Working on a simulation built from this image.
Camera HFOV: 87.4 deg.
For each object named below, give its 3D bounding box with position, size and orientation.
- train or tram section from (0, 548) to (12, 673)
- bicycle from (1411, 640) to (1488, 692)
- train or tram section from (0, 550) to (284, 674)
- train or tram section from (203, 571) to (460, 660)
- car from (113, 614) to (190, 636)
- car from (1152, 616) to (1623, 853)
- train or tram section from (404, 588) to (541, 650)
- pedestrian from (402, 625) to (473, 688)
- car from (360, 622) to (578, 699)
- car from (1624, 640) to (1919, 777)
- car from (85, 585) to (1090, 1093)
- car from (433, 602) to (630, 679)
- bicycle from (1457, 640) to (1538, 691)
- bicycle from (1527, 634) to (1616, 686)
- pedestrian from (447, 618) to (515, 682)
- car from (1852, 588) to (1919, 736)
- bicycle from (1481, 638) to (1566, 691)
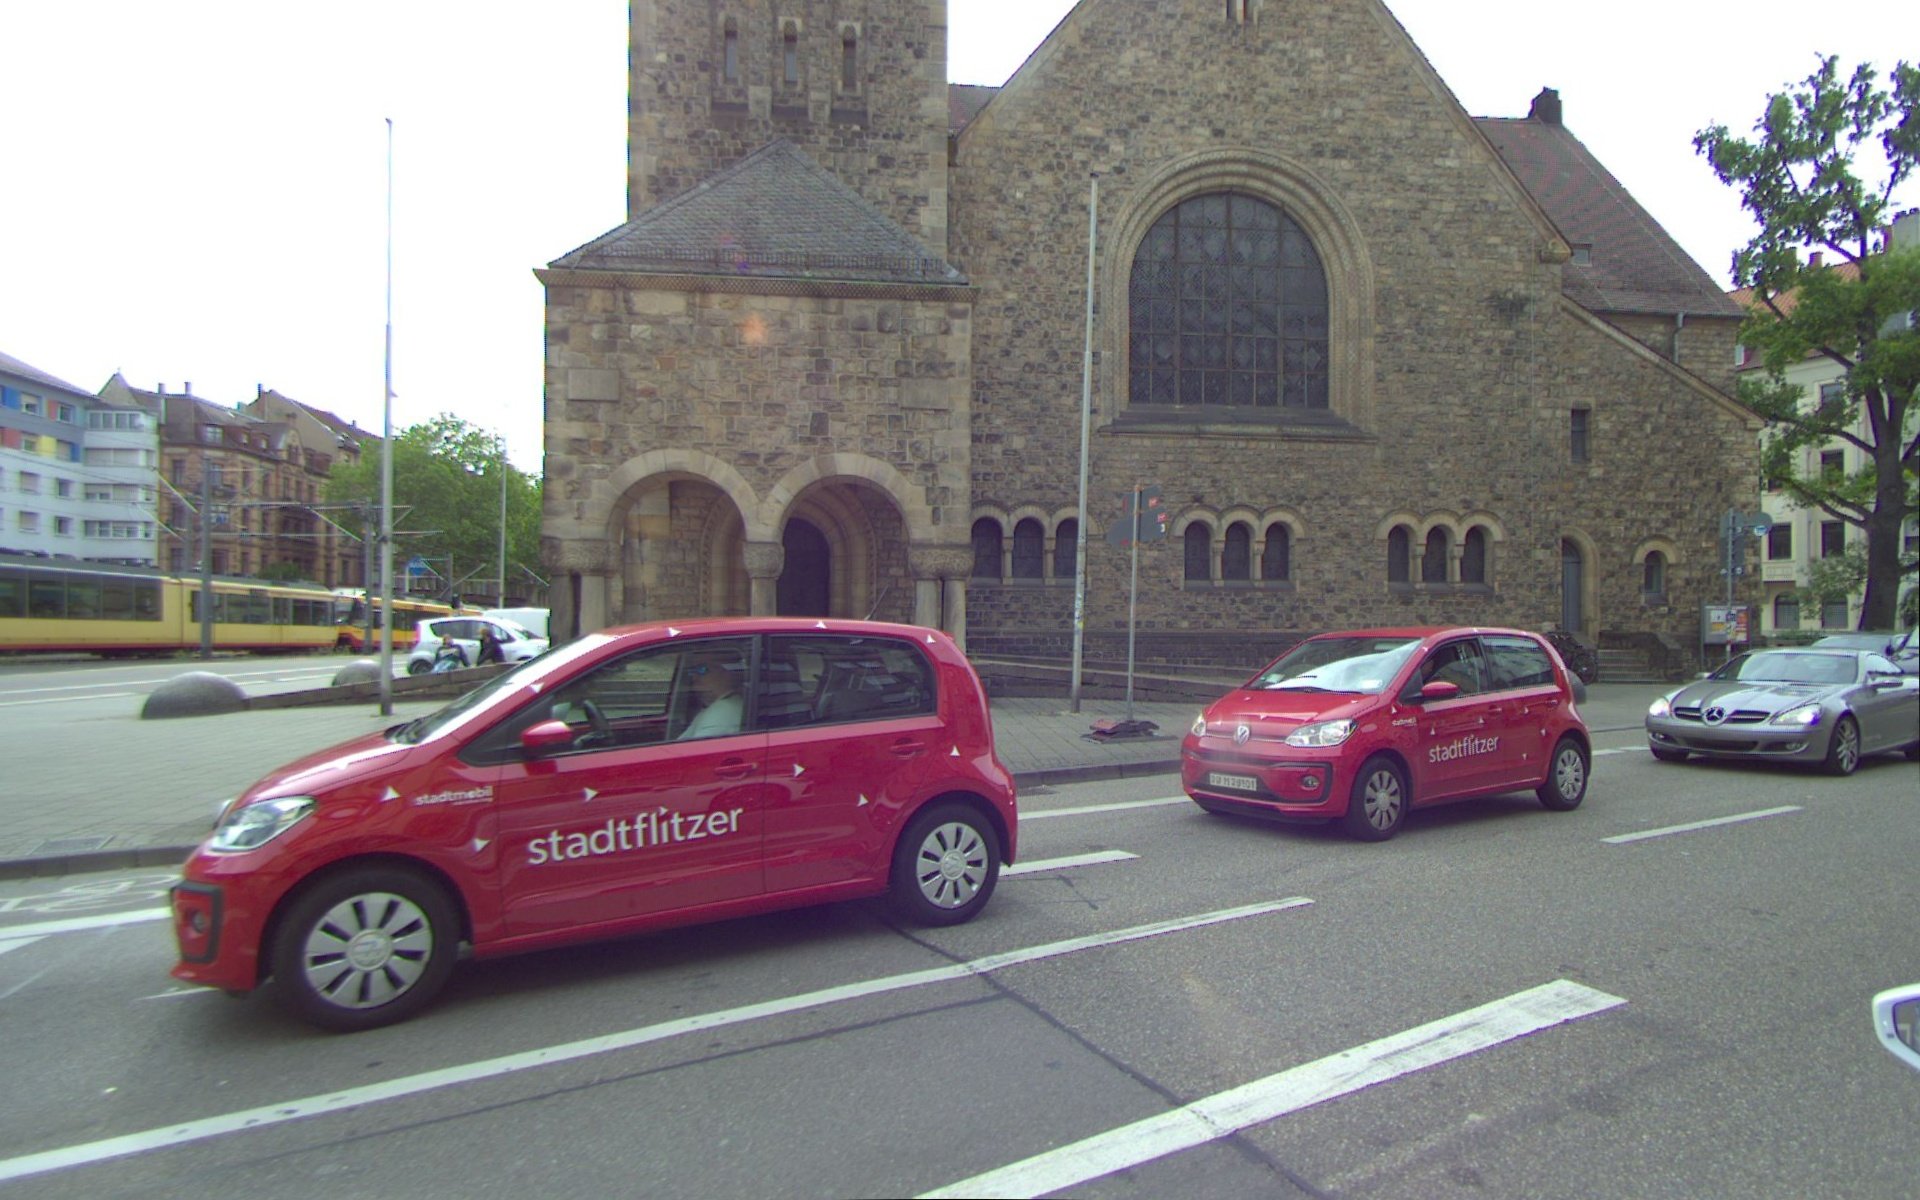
[{"bbox_3d":[-32.920,0.093,25.786,3.585,4.146,15.032,2,-2,-4],"label":"train or tram section"},{"bbox_3d":[11.424,1.523,23.520,0.558,1.140,1.778,1,-1,-17],"label":"bicycle"},{"bbox_3d":[-33.947,0.553,40.840,3.513,4.146,15.032,2,-2,-4],"label":"train or tram section"},{"bbox_3d":[-35.185,1.027,58.336,3.558,4.146,19.939,2,-2,-4],"label":"train or tram section"},{"bbox_3d":[-48.399,1.507,60.216,1.675,1.237,3.888,2,-2,-5],"label":"car"},{"bbox_3d":[3.441,0.935,7.953,3.676,1.476,1.594,2,-4,-32],"label":"car"},{"bbox_3d":[-36.481,1.509,76.354,3.458,4.146,16.198,2,-2,-4],"label":"train or tram section"},{"bbox_3d":[-10.663,1.136,20.564,0.725,1.207,1.492,2,-2,-5],"label":"pedestrian"},{"bbox_3d":[-11.576,1.416,23.919,4.281,1.658,1.661,2,-2,-6],"label":"car"},{"bbox_3d":[9.504,1.137,11.363,3.994,1.303,1.697,2,-4,-30],"label":"car"},{"bbox_3d":[-1.426,0.781,4.780,3.848,1.548,1.642,0,-3,-31],"label":"car"},{"bbox_3d":[-11.479,1.091,27.184,4.538,1.906,1.661,2,-1,-6],"label":"car"},{"bbox_3d":[12.809,1.538,23.998,0.651,1.145,1.777,1,-1,-17],"label":"bicycle"},{"bbox_3d":[14.600,1.423,24.037,0.730,1.167,1.777,1,-1,-17],"label":"bicycle"},{"bbox_3d":[-9.739,1.017,20.459,0.724,1.244,1.063,1,-1,9],"label":"pedestrian"},{"bbox_3d":[15.183,0.860,14.532,5.222,1.980,1.903,1,-1,-30],"label":"car"},{"bbox_3d":[13.568,1.539,24.237,0.730,1.182,1.777,1,-1,-17],"label":"bicycle"}]
